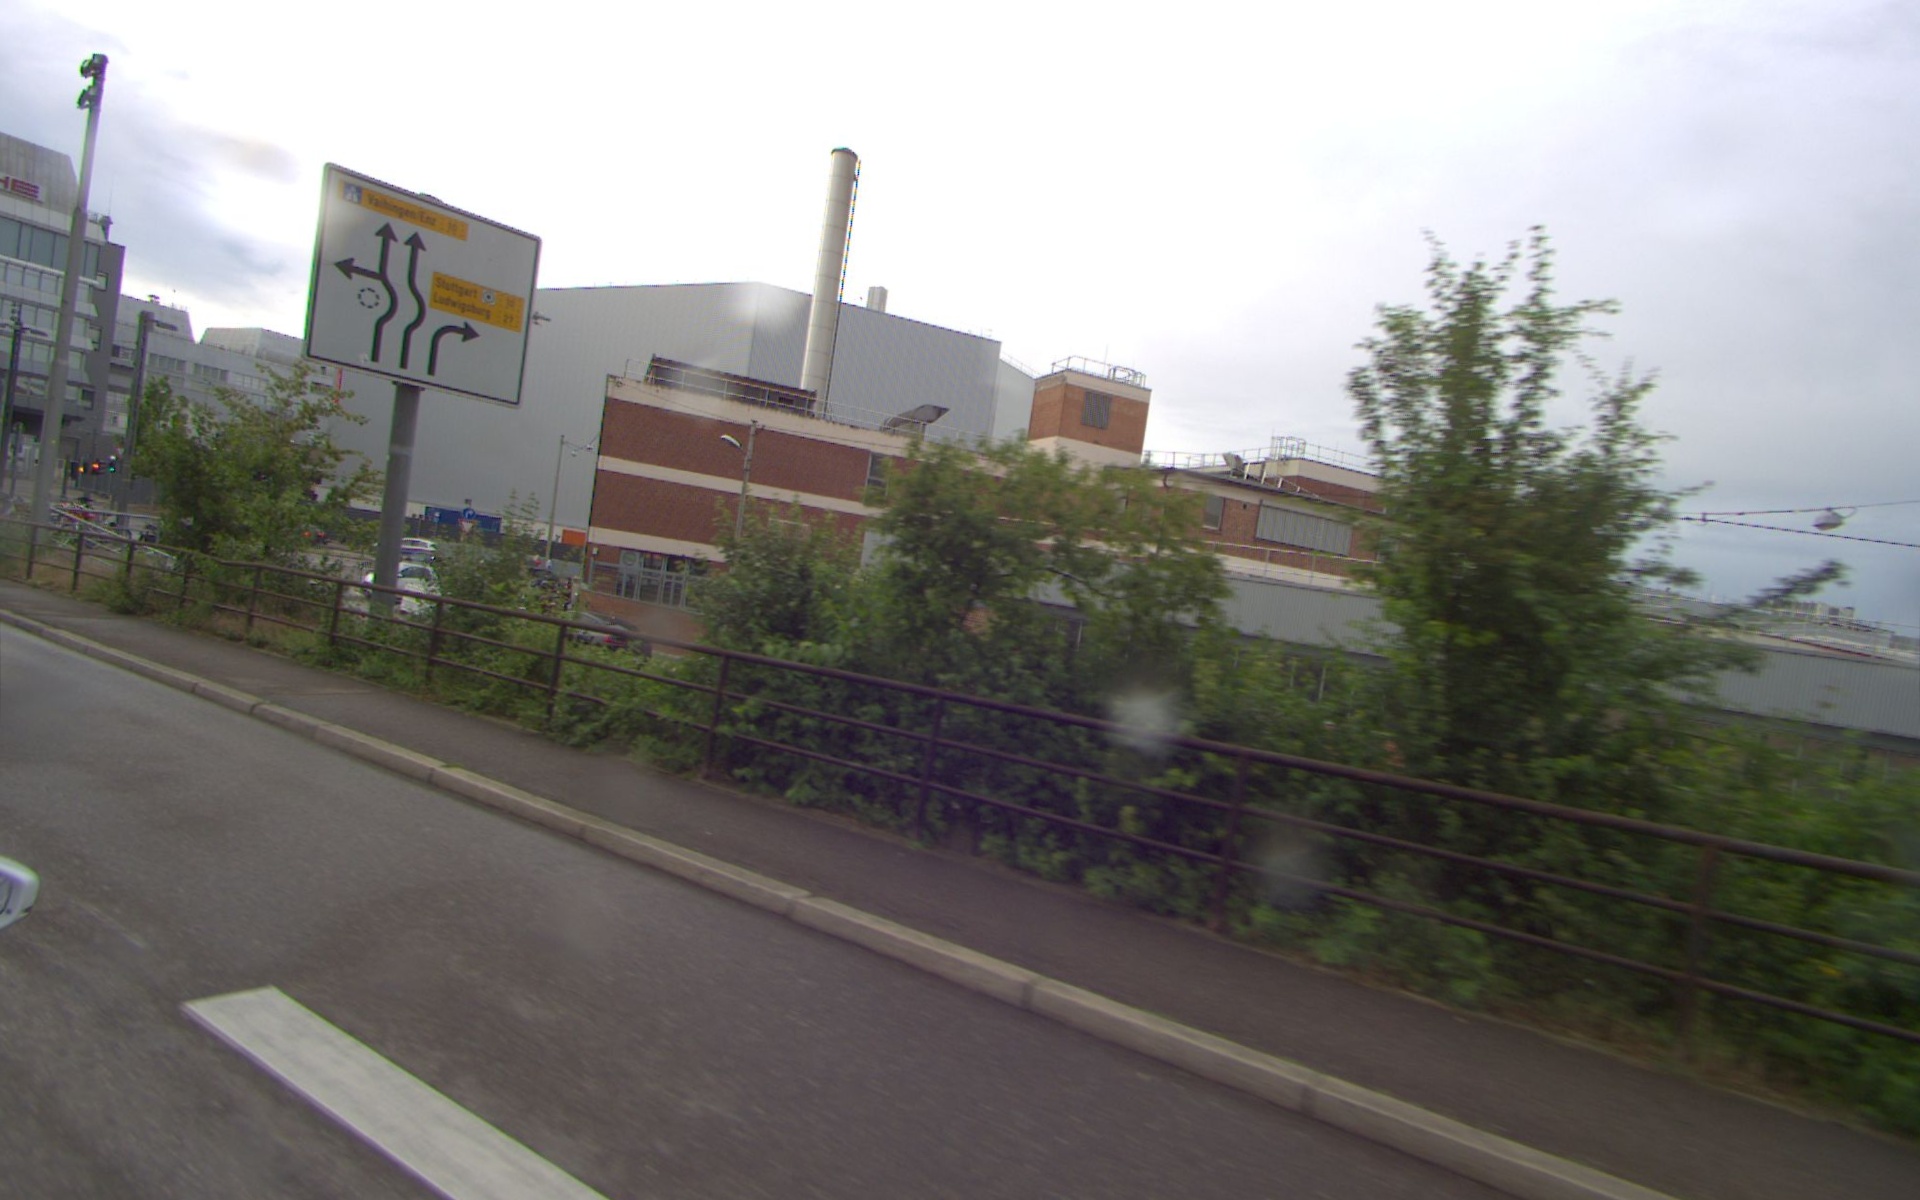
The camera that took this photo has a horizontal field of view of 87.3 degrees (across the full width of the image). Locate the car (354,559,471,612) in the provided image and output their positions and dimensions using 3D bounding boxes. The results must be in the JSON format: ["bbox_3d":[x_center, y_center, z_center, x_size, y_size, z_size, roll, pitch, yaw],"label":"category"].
[{"bbox_3d":[-21.153,-0.531,38.924,1.670,1.500,3.543,11,2,43],"label":"car"}]

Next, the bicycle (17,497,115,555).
[{"bbox_3d":[-22.435,-1.839,25.302,0.588,1.239,1.932,6,0,2],"label":"bicycle"}]

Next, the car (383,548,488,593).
[{"bbox_3d":[-25.452,-1.415,48.880,4.087,1.548,1.838,8,-1,8],"label":"car"}]

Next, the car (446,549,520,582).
[{"bbox_3d":[-30.883,-2.237,65.211,3.943,1.409,1.750,9,0,-17],"label":"car"}]

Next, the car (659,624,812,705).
[{"bbox_3d":[-6.208,1.756,27.687,3.865,1.648,1.700,7,0,31],"label":"car"}]

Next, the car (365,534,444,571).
[{"bbox_3d":[-35.221,-2.995,63.908,3.924,1.620,1.904,9,0,-17],"label":"car"}]

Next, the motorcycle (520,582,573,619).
[{"bbox_3d":[-16.833,0.036,40.977,1.856,1.327,0.566,5,4,-41],"label":"motorcycle"}]

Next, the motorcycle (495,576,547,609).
[{"bbox_3d":[-19.339,-0.340,44.326,1.998,1.206,0.605,6,4,-27],"label":"motorcycle"}]

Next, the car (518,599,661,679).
[{"bbox_3d":[-11.406,1.172,30.896,4.191,1.628,1.701,10,0,31],"label":"car"}]

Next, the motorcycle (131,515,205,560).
[{"bbox_3d":[-32.208,-2.532,40.968,2.216,1.470,0.749,8,0,-36],"label":"motorcycle"}]

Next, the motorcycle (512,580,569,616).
[{"bbox_3d":[-17.499,-0.087,41.962,0.679,1.327,2.009,10,4,45],"label":"motorcycle"}]

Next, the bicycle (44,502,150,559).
[{"bbox_3d":[-21.549,-1.717,25.163,0.588,1.193,1.933,7,0,16],"label":"bicycle"}]

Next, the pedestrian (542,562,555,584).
[{"bbox_3d":[-28.875,-1.879,70.584,0.640,1.499,0.438,7,1,-14],"label":"pedestrian"}]

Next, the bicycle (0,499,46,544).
[{"bbox_3d":[-27.508,-2.310,28.818,0.582,1.176,1.800,7,0,34],"label":"bicycle"}]

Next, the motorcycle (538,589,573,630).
[{"bbox_3d":[-15.556,0.351,38.633,0.919,1.327,1.968,5,4,-30],"label":"motorcycle"}]

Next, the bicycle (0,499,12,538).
[{"bbox_3d":[-29.872,-2.570,30.294,0.668,1.154,1.769,6,-1,38],"label":"bicycle"}]

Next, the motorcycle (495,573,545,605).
[{"bbox_3d":[-20.257,-0.495,46.335,1.992,1.206,0.607,6,4,-17],"label":"motorcycle"}]

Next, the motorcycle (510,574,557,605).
[{"bbox_3d":[-20.571,-0.512,48.545,1.984,1.206,0.609,7,4,7],"label":"motorcycle"}]

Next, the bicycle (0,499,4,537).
[{"bbox_3d":[-30.408,-2.615,31.664,0.384,1.176,1.976,6,0,-44],"label":"bicycle"}]

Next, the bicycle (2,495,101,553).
[{"bbox_3d":[-23.089,-1.912,25.613,0.588,1.239,1.932,7,0,3],"label":"bicycle"}]
